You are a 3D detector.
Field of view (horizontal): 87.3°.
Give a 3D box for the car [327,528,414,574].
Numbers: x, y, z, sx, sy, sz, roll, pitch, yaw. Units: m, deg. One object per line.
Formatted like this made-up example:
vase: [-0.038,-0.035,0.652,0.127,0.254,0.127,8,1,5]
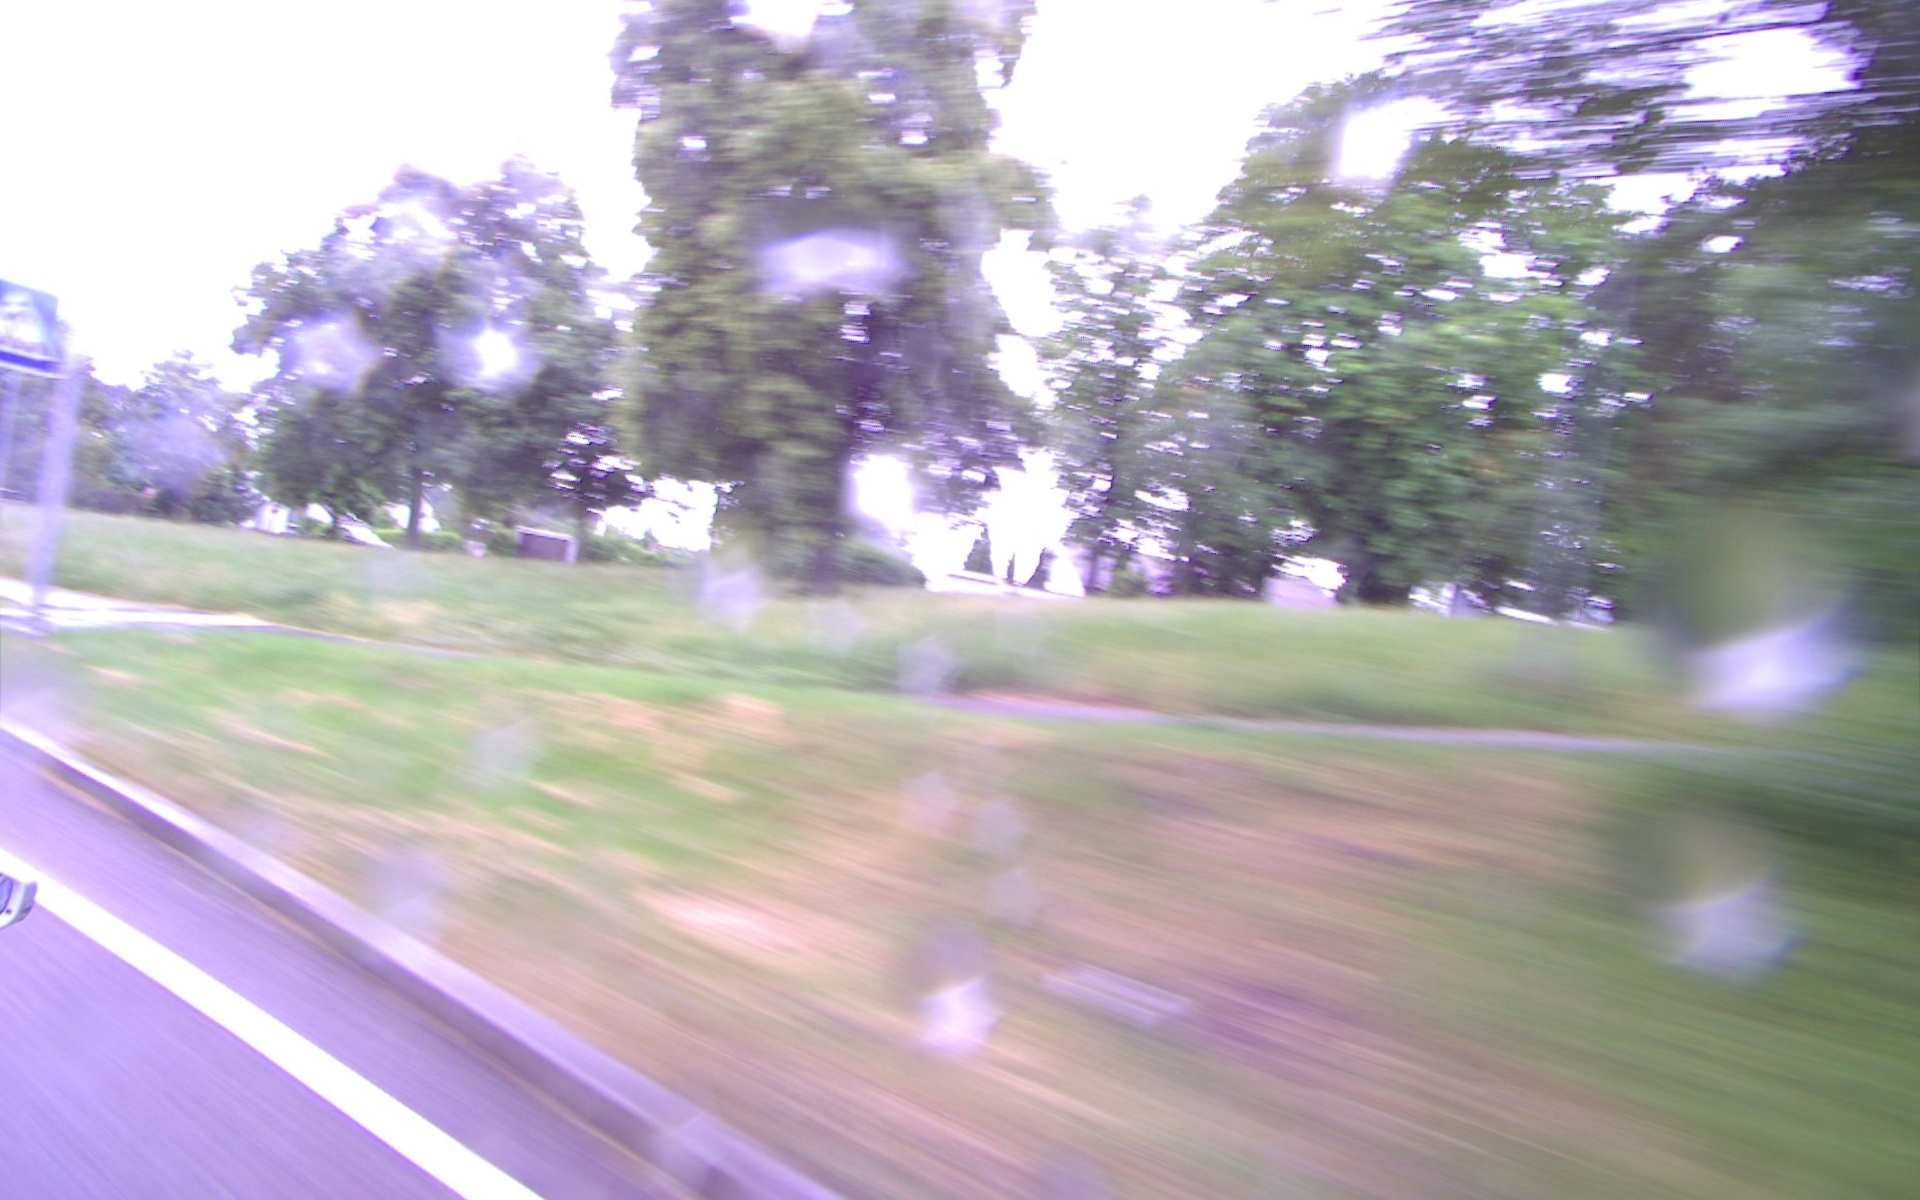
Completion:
car: [-28.841,-2.401,49.211,3.932,1.672,1.829,8,0,30]
